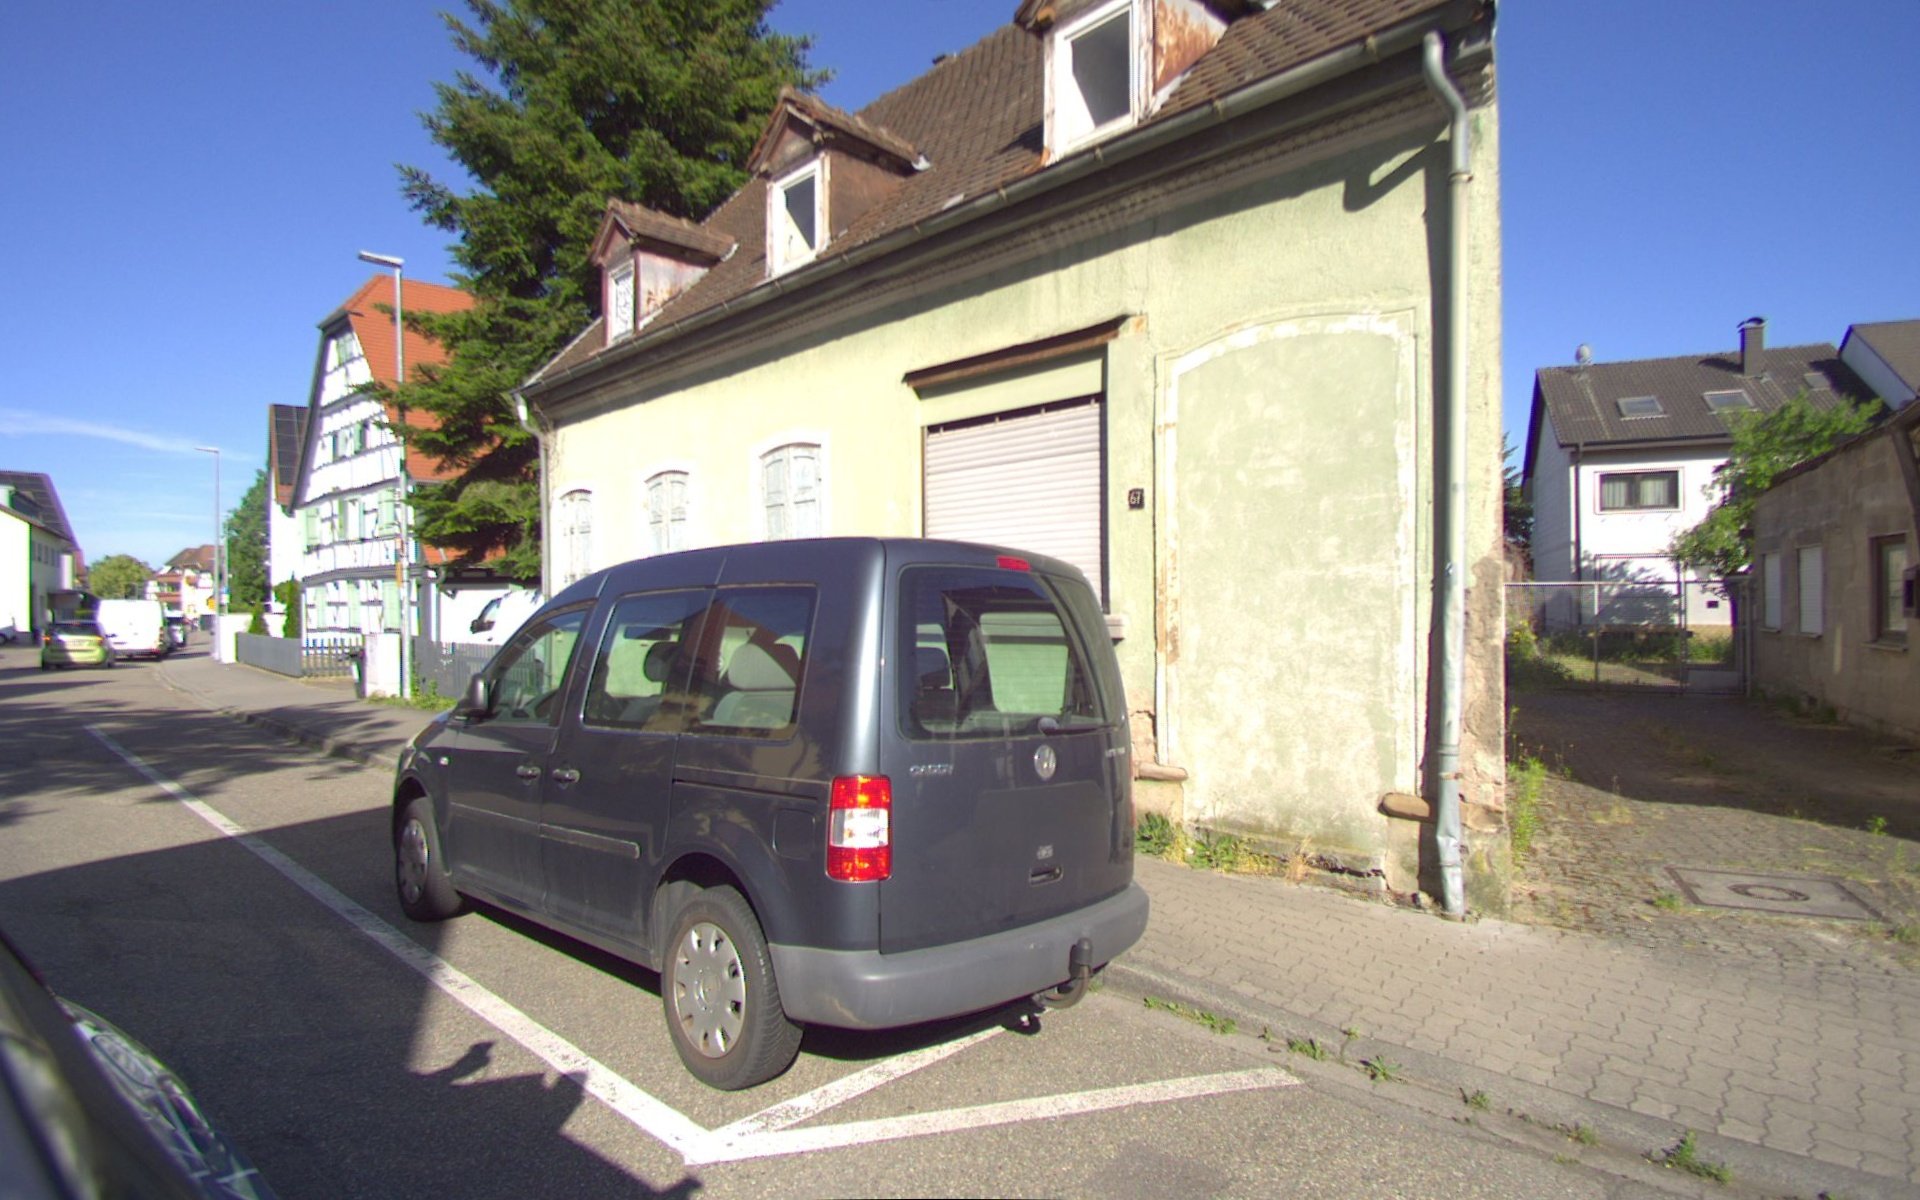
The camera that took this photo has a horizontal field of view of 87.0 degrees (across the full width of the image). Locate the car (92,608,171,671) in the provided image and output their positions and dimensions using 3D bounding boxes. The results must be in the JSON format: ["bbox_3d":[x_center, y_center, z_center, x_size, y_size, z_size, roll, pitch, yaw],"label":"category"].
[{"bbox_3d":[-31.689,1.574,38.842,2.028,2.263,4.870,3,-4,-37],"label":"car"}]

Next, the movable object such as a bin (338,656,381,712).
[{"bbox_3d":[-10.828,1.506,18.248,0.519,0.954,0.518,-3,-3,39],"label":"movable object such as a bin"}]

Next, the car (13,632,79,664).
[{"bbox_3d":[-45.414,2.367,50.364,1.778,1.489,4.355,0,-2,-34],"label":"car"}]

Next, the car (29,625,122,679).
[{"bbox_3d":[-28.335,1.694,32.542,1.864,1.603,4.009,3,-4,-36],"label":"car"}]

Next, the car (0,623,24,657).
[{"bbox_3d":[-58.630,2.391,60.455,3.939,2.029,1.843,3,-4,-43],"label":"car"}]

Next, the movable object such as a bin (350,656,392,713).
[{"bbox_3d":[-10.430,1.489,17.918,0.429,0.954,0.518,-3,-3,38],"label":"movable object such as a bin"}]

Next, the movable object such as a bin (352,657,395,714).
[{"bbox_3d":[-10.155,1.467,17.516,0.429,0.954,0.518,-3,-3,38],"label":"movable object such as a bin"}]

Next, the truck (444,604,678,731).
[{"bbox_3d":[-6.914,1.097,17.236,4.754,1.863,1.971,-4,-3,45],"label":"truck"}]

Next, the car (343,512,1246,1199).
[{"bbox_3d":[-1.109,0.837,4.685,4.353,1.803,1.812,-3,-7,43],"label":"car"}]
